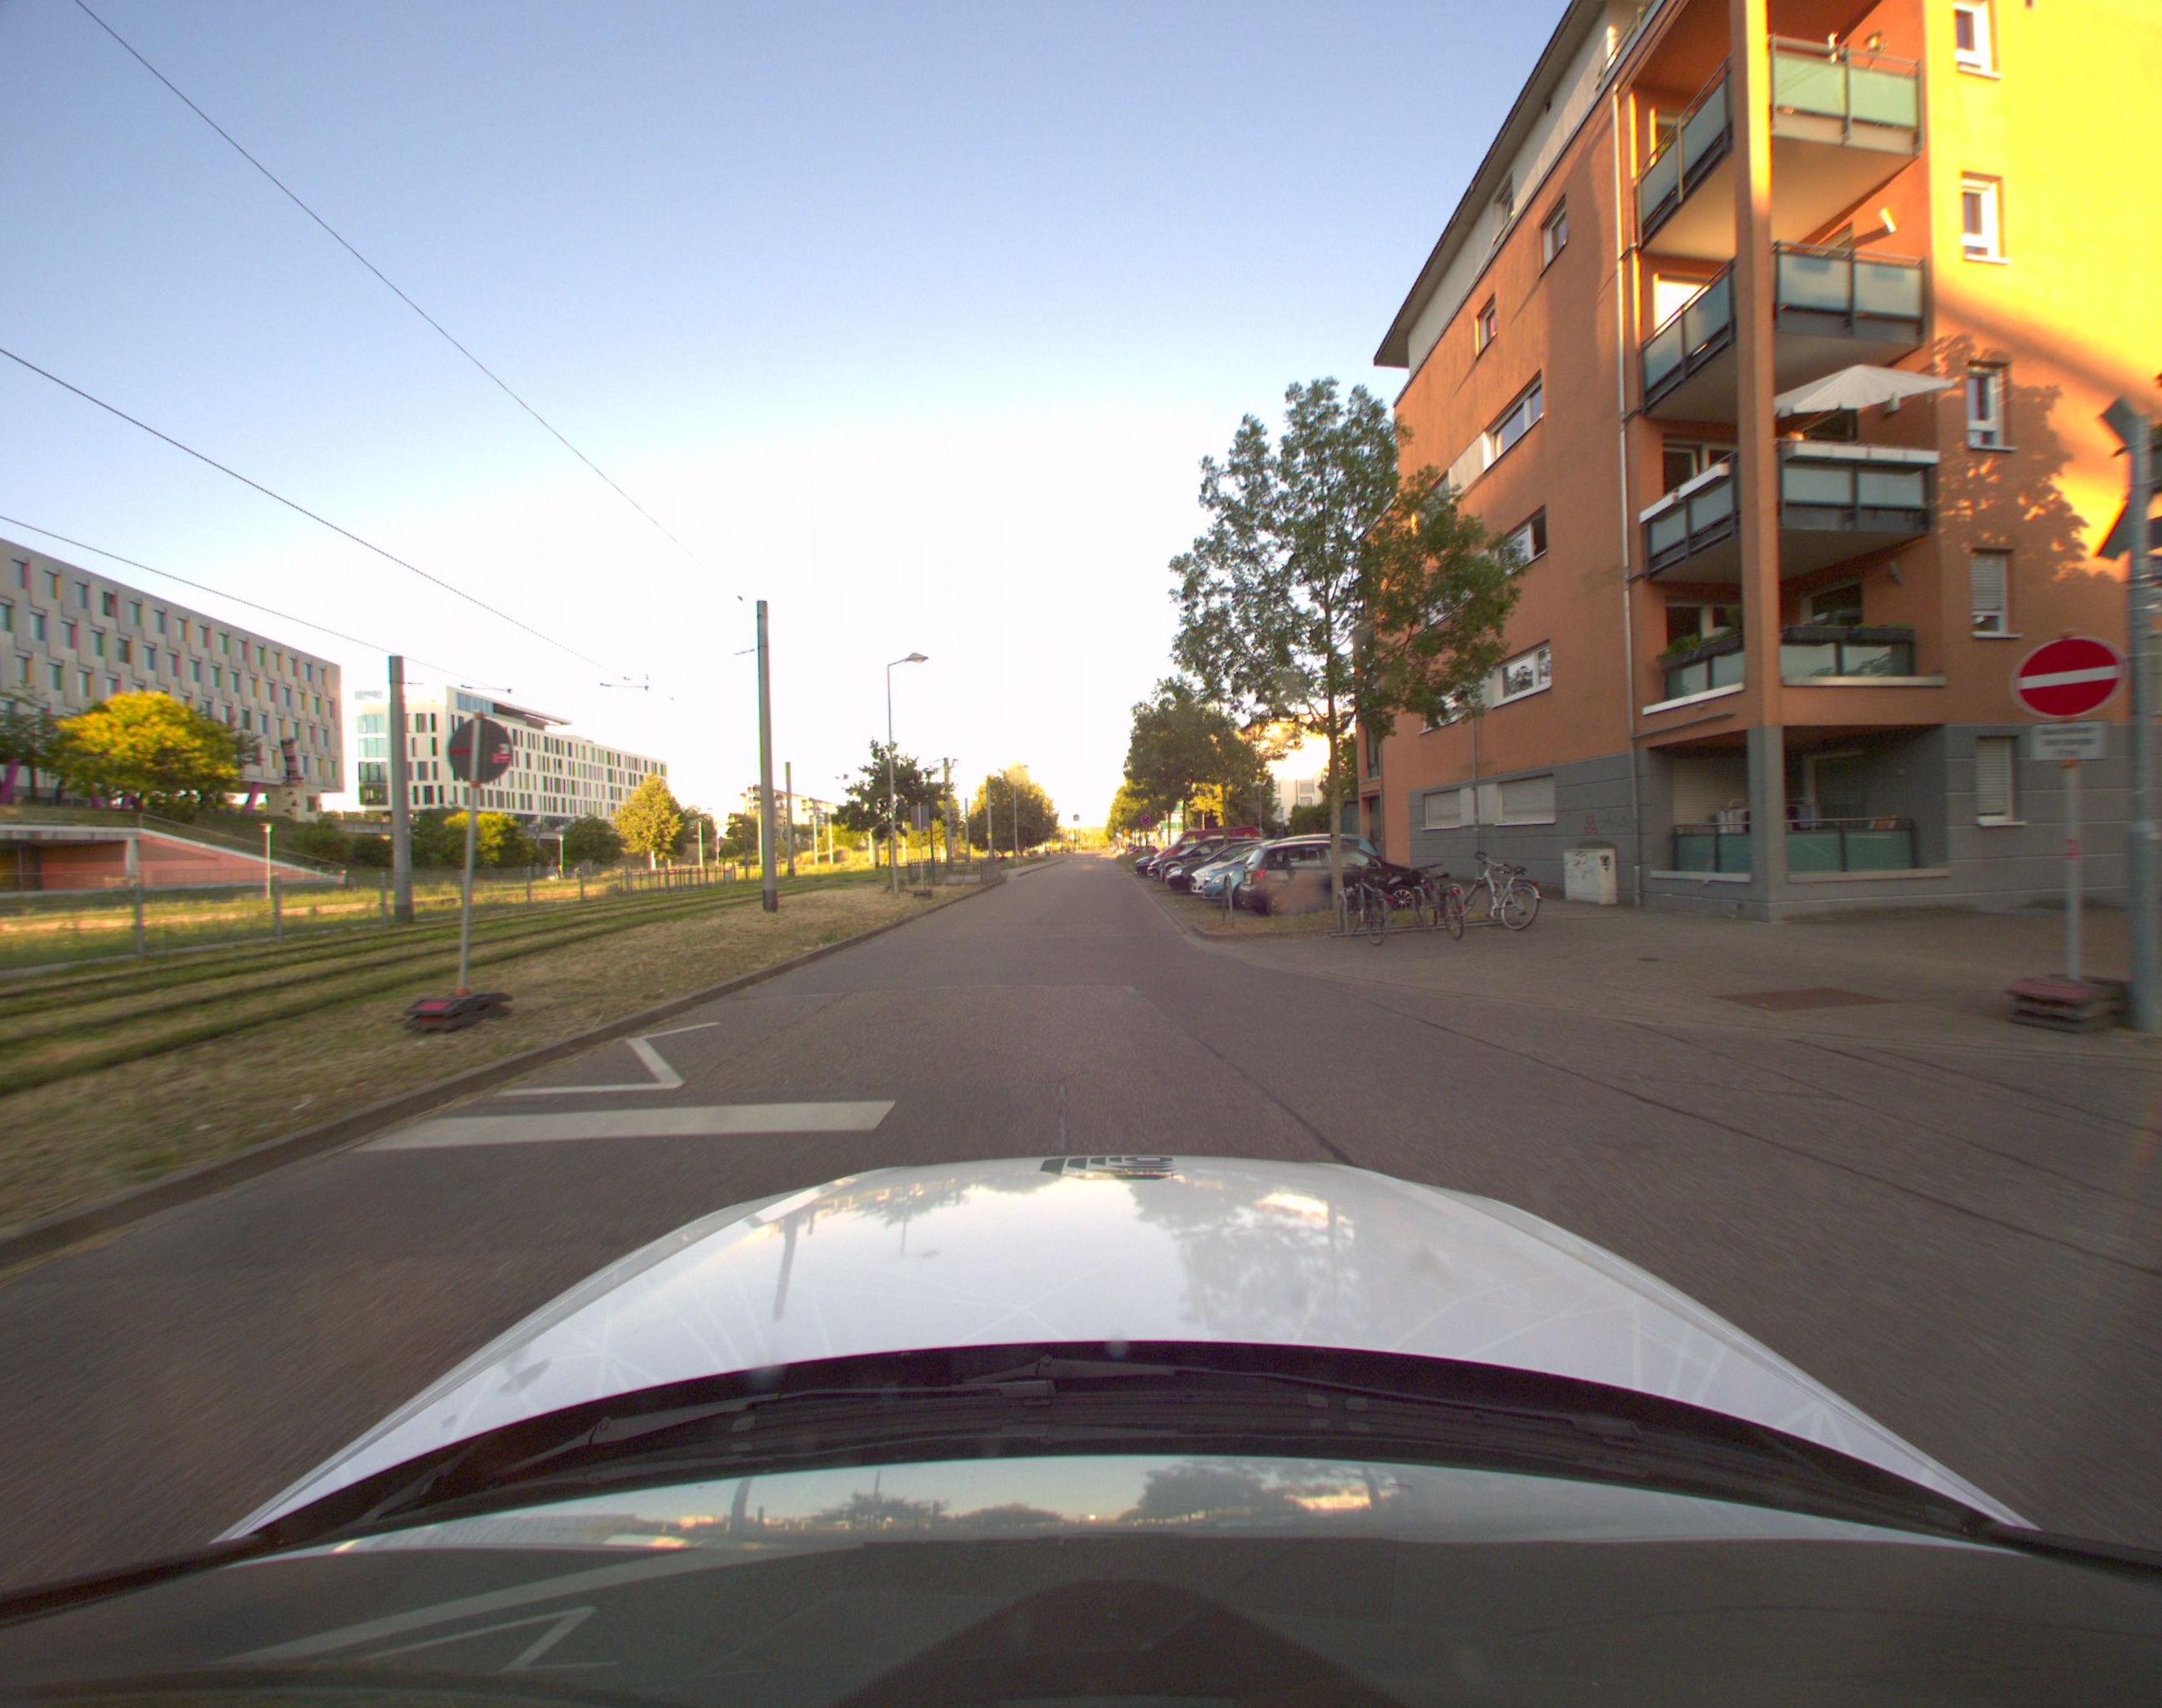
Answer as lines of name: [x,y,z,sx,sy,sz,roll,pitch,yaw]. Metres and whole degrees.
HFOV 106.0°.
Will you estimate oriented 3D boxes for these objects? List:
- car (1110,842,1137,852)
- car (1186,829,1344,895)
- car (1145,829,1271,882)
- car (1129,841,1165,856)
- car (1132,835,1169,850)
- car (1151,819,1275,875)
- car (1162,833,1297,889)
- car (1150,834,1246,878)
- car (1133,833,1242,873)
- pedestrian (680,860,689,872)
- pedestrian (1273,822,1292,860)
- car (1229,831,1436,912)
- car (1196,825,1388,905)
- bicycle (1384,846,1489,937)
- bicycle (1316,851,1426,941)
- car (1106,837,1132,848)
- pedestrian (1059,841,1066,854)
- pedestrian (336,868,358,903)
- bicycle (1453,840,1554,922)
car: [7.222,-1.204,138.414,4.467,1.596,2.001,-2,1,2]
car: [4.852,0.191,21.837,3.863,1.568,1.620,-2,1,1]
car: [4.481,0.050,29.145,4.201,1.568,1.793,-4,1,1]
car: [7.306,-0.612,90.642,3.791,1.508,1.678,-2,1,-1]
car: [7.485,-1.220,88.009,3.791,1.508,1.678,-2,1,-1]
car: [5.477,-0.291,34.250,4.900,2.117,2.018,-2,1,2]
car: [4.388,0.222,24.477,3.760,1.495,1.539,-2,-1,0]
car: [4.558,0.064,32.125,3.513,1.465,1.616,-4,1,1]
car: [4.759,-0.060,36.826,4.653,1.556,1.811,-2,1,0]
pedestrian: [-59.407,1.843,122.030,0.783,1.786,0.815,-2,0,4]
pedestrian: [9.548,-0.628,38.634,0.666,1.743,0.699,-2,1,1]
car: [5.109,0.320,16.815,3.742,1.473,1.611,-2,1,-4]
car: [4.843,0.226,19.099,4.036,1.568,1.673,-3,1,1]
bicycle: [5.283,0.515,12.247,0.677,1.152,1.927,-4,2,-1]
bicycle: [4.331,0.580,12.321,0.716,1.152,1.892,-4,3,-9]
car: [7.493,-2.321,161.530,4.992,2.045,2.248,-2,1,-4]
pedestrian: [-2.874,-1.017,128.026,0.842,2.013,0.945,-2,0,7]
pedestrian: [-44.698,1.920,49.597,0.614,2.082,0.790,0,0,0]
bicycle: [6.486,0.370,12.626,0.527,1.126,1.962,0,2,-1]
